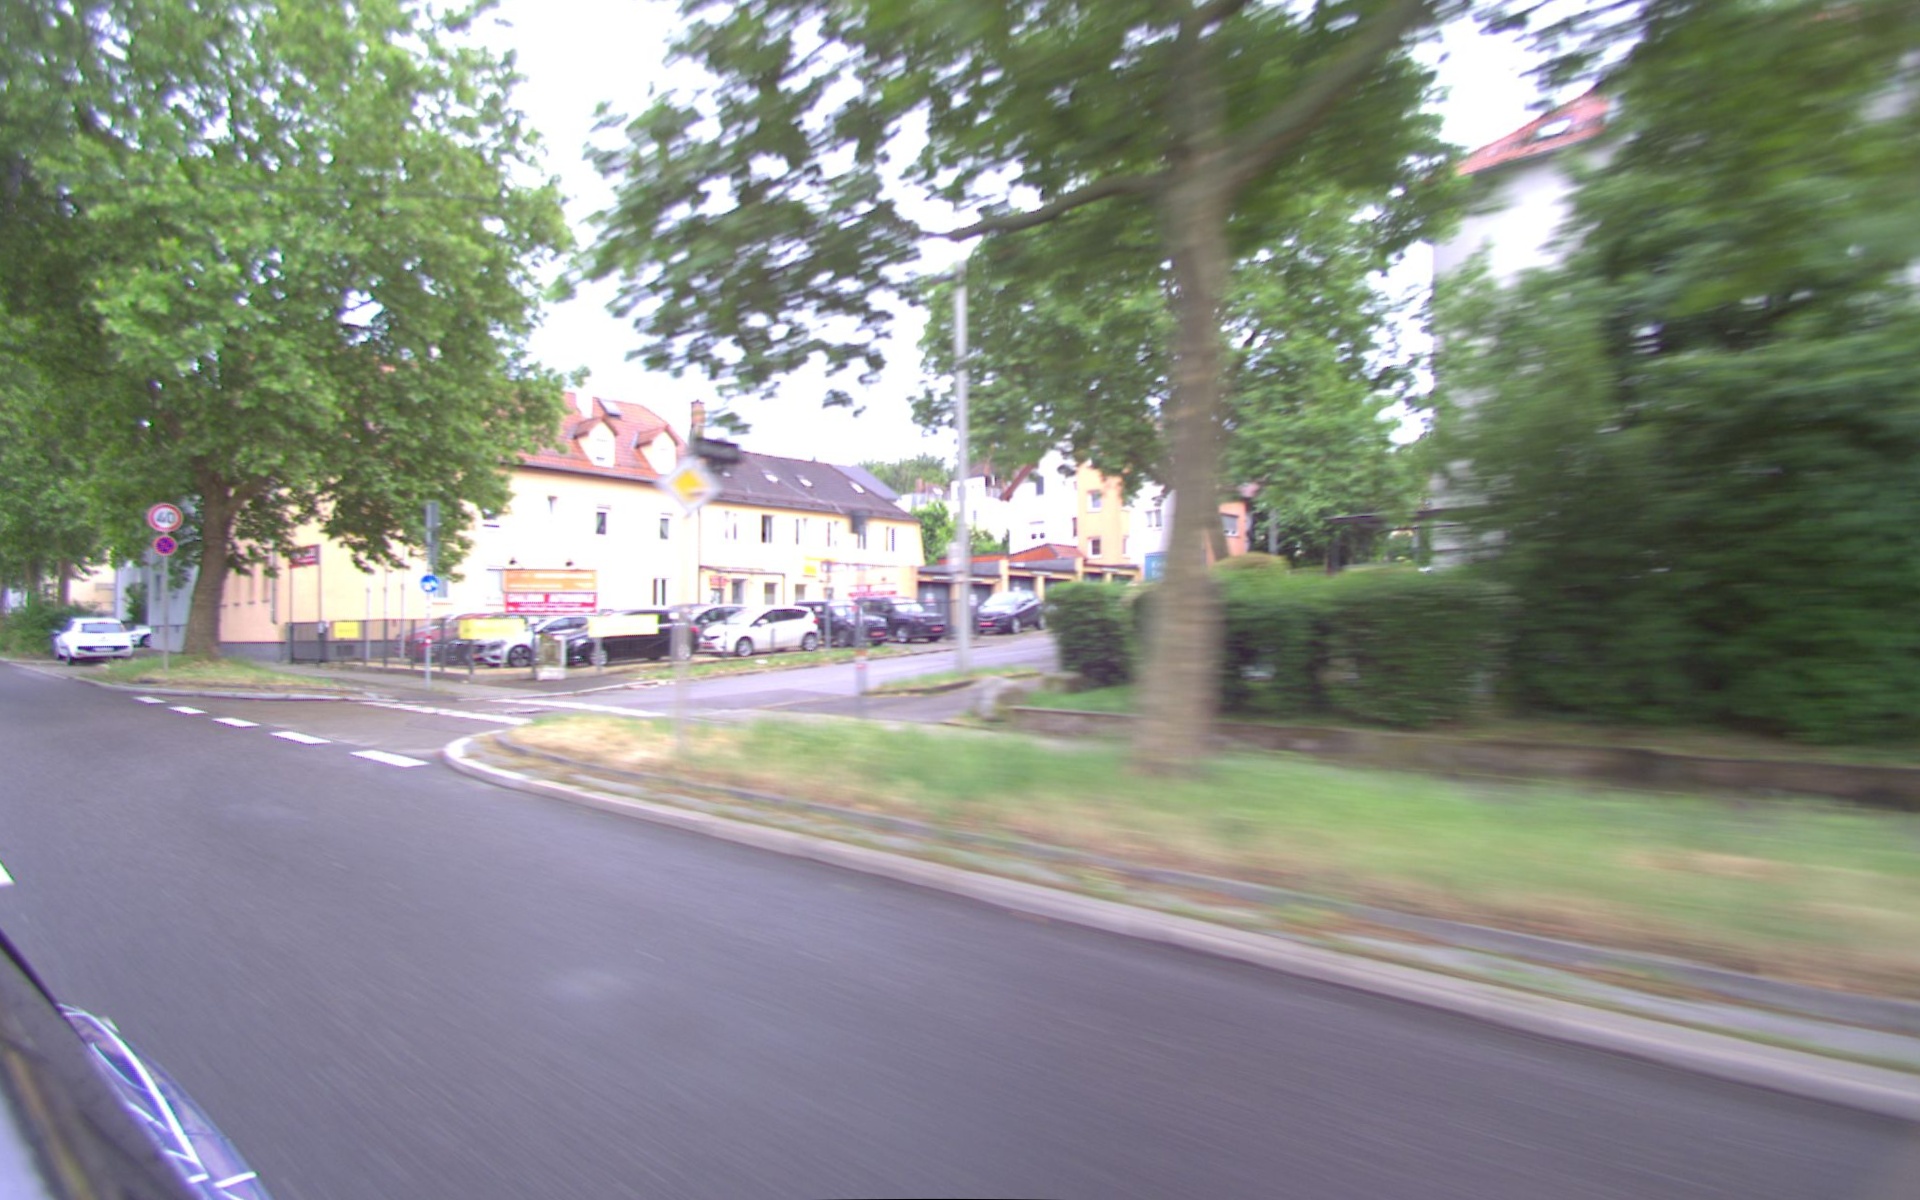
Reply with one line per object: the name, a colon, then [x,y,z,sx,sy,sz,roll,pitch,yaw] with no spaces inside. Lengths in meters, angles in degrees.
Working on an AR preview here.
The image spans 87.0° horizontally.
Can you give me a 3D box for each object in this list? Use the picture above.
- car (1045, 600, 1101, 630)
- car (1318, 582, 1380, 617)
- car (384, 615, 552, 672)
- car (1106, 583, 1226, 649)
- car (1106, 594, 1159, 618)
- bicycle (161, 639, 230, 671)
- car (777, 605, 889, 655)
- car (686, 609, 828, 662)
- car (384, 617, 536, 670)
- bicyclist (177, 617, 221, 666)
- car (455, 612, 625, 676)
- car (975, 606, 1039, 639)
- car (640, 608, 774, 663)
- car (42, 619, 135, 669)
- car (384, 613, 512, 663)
car: [4.964,0.630,44.167,1.331,1.071,2.604,0,4,35]
car: [16.478,-0.044,42.815,1.569,1.416,2.934,0,2,41]
car: [-14.865,1.268,30.697,2.001,1.550,4.159,-2,-1,45]
car: [6.280,0.423,30.590,1.879,1.792,3.946,0,2,41]
car: [8.398,0.274,49.262,1.478,1.071,2.853,0,2,35]
bicycle: [-25.443,1.810,33.680,2.244,1.003,0.553,0,1,15]
car: [-4.752,1.086,38.255,1.887,1.696,3.943,0,1,43]
car: [-6.411,1.081,32.278,1.998,1.508,4.125,0,1,40]
car: [-16.341,1.375,33.208,1.958,1.509,4.053,-1,0,43]
bicyclist: [-25.293,1.373,33.636,0.809,1.564,0.831,0,1,14]
car: [-12.255,1.223,29.710,1.981,1.550,4.165,0,2,39]
car: [1.858,0.867,39.725,1.348,1.071,2.573,0,4,35]
car: [-8.430,1.137,33.947,1.998,1.665,3.947,0,0,40]
car: [-29.423,1.447,34.141,4.349,1.563,1.767,-2,-1,41]
car: [-19.393,1.396,38.462,1.782,1.626,3.943,-1,1,43]
